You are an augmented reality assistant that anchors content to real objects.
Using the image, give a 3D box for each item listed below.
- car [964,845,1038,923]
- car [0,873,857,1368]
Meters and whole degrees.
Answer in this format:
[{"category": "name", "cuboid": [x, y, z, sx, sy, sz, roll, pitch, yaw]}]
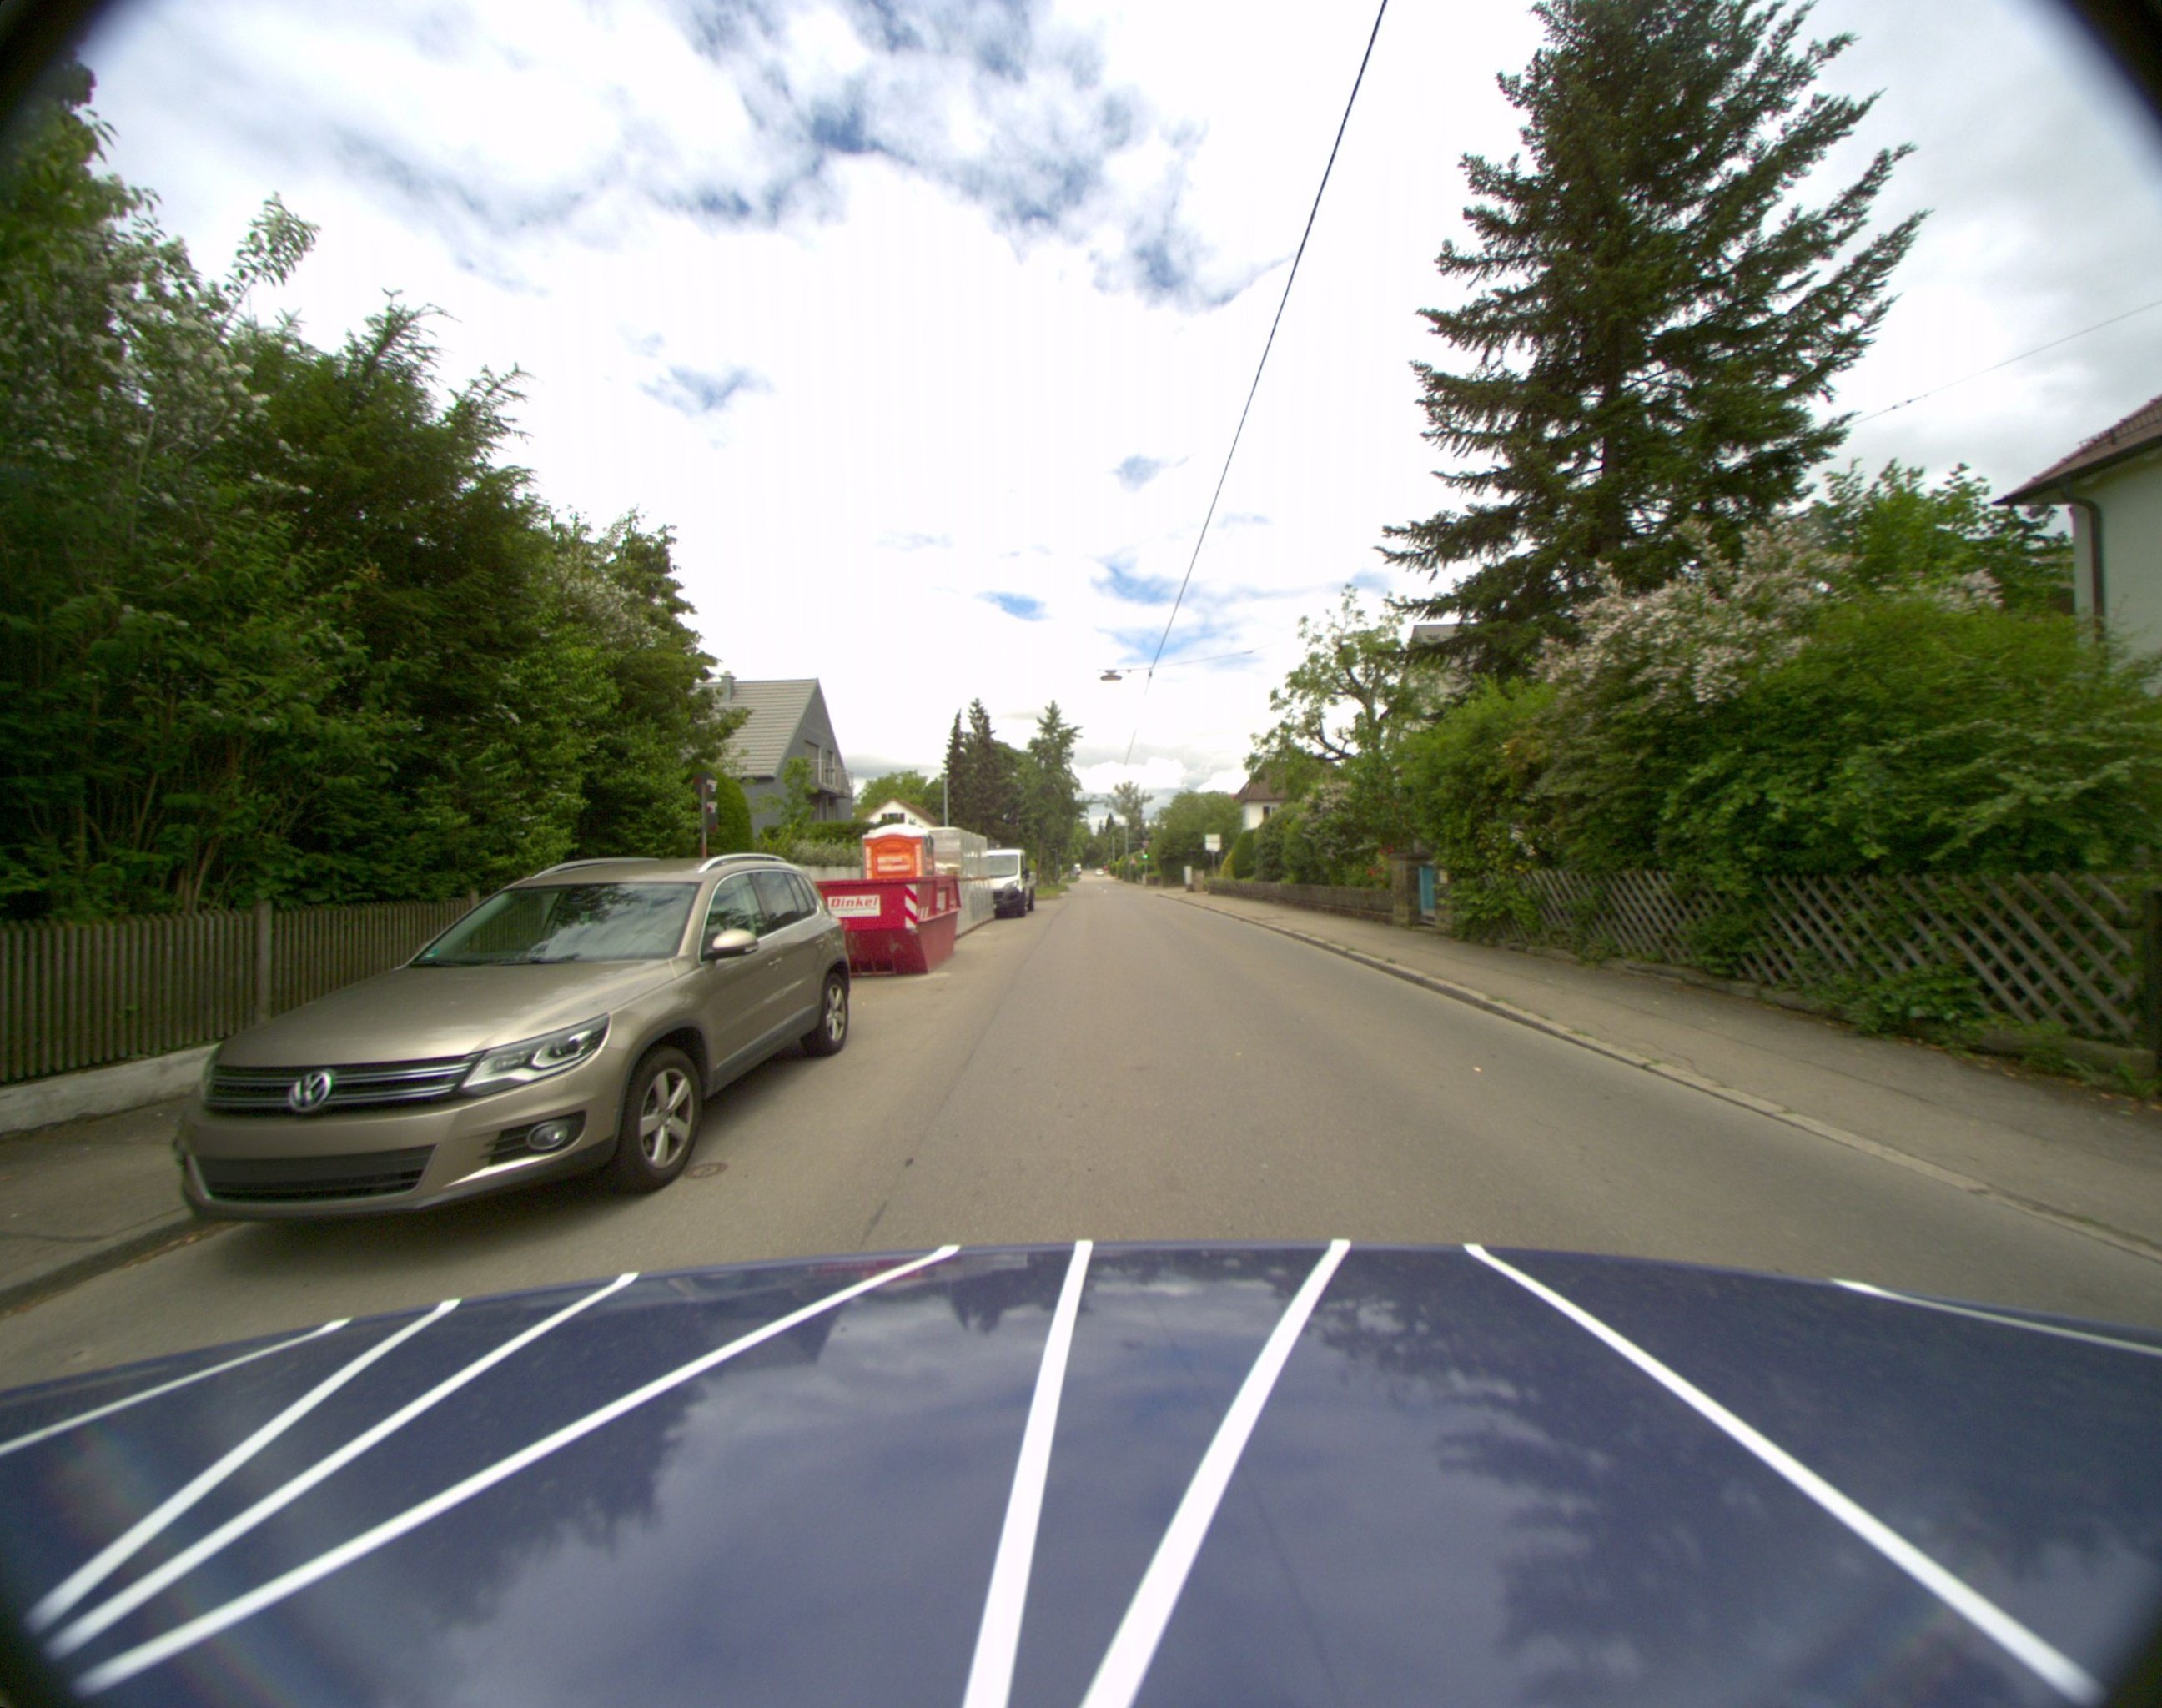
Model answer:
[{"category": "car", "cuboid": [-2.515, 0.877, 25.228, 1.854, 2.211, 5.366, -4, 0, -1]}, {"category": "car", "cuboid": [-2.959, 0.971, 4.689, 1.878, 1.622, 4.126, -2, -1, 0]}]
